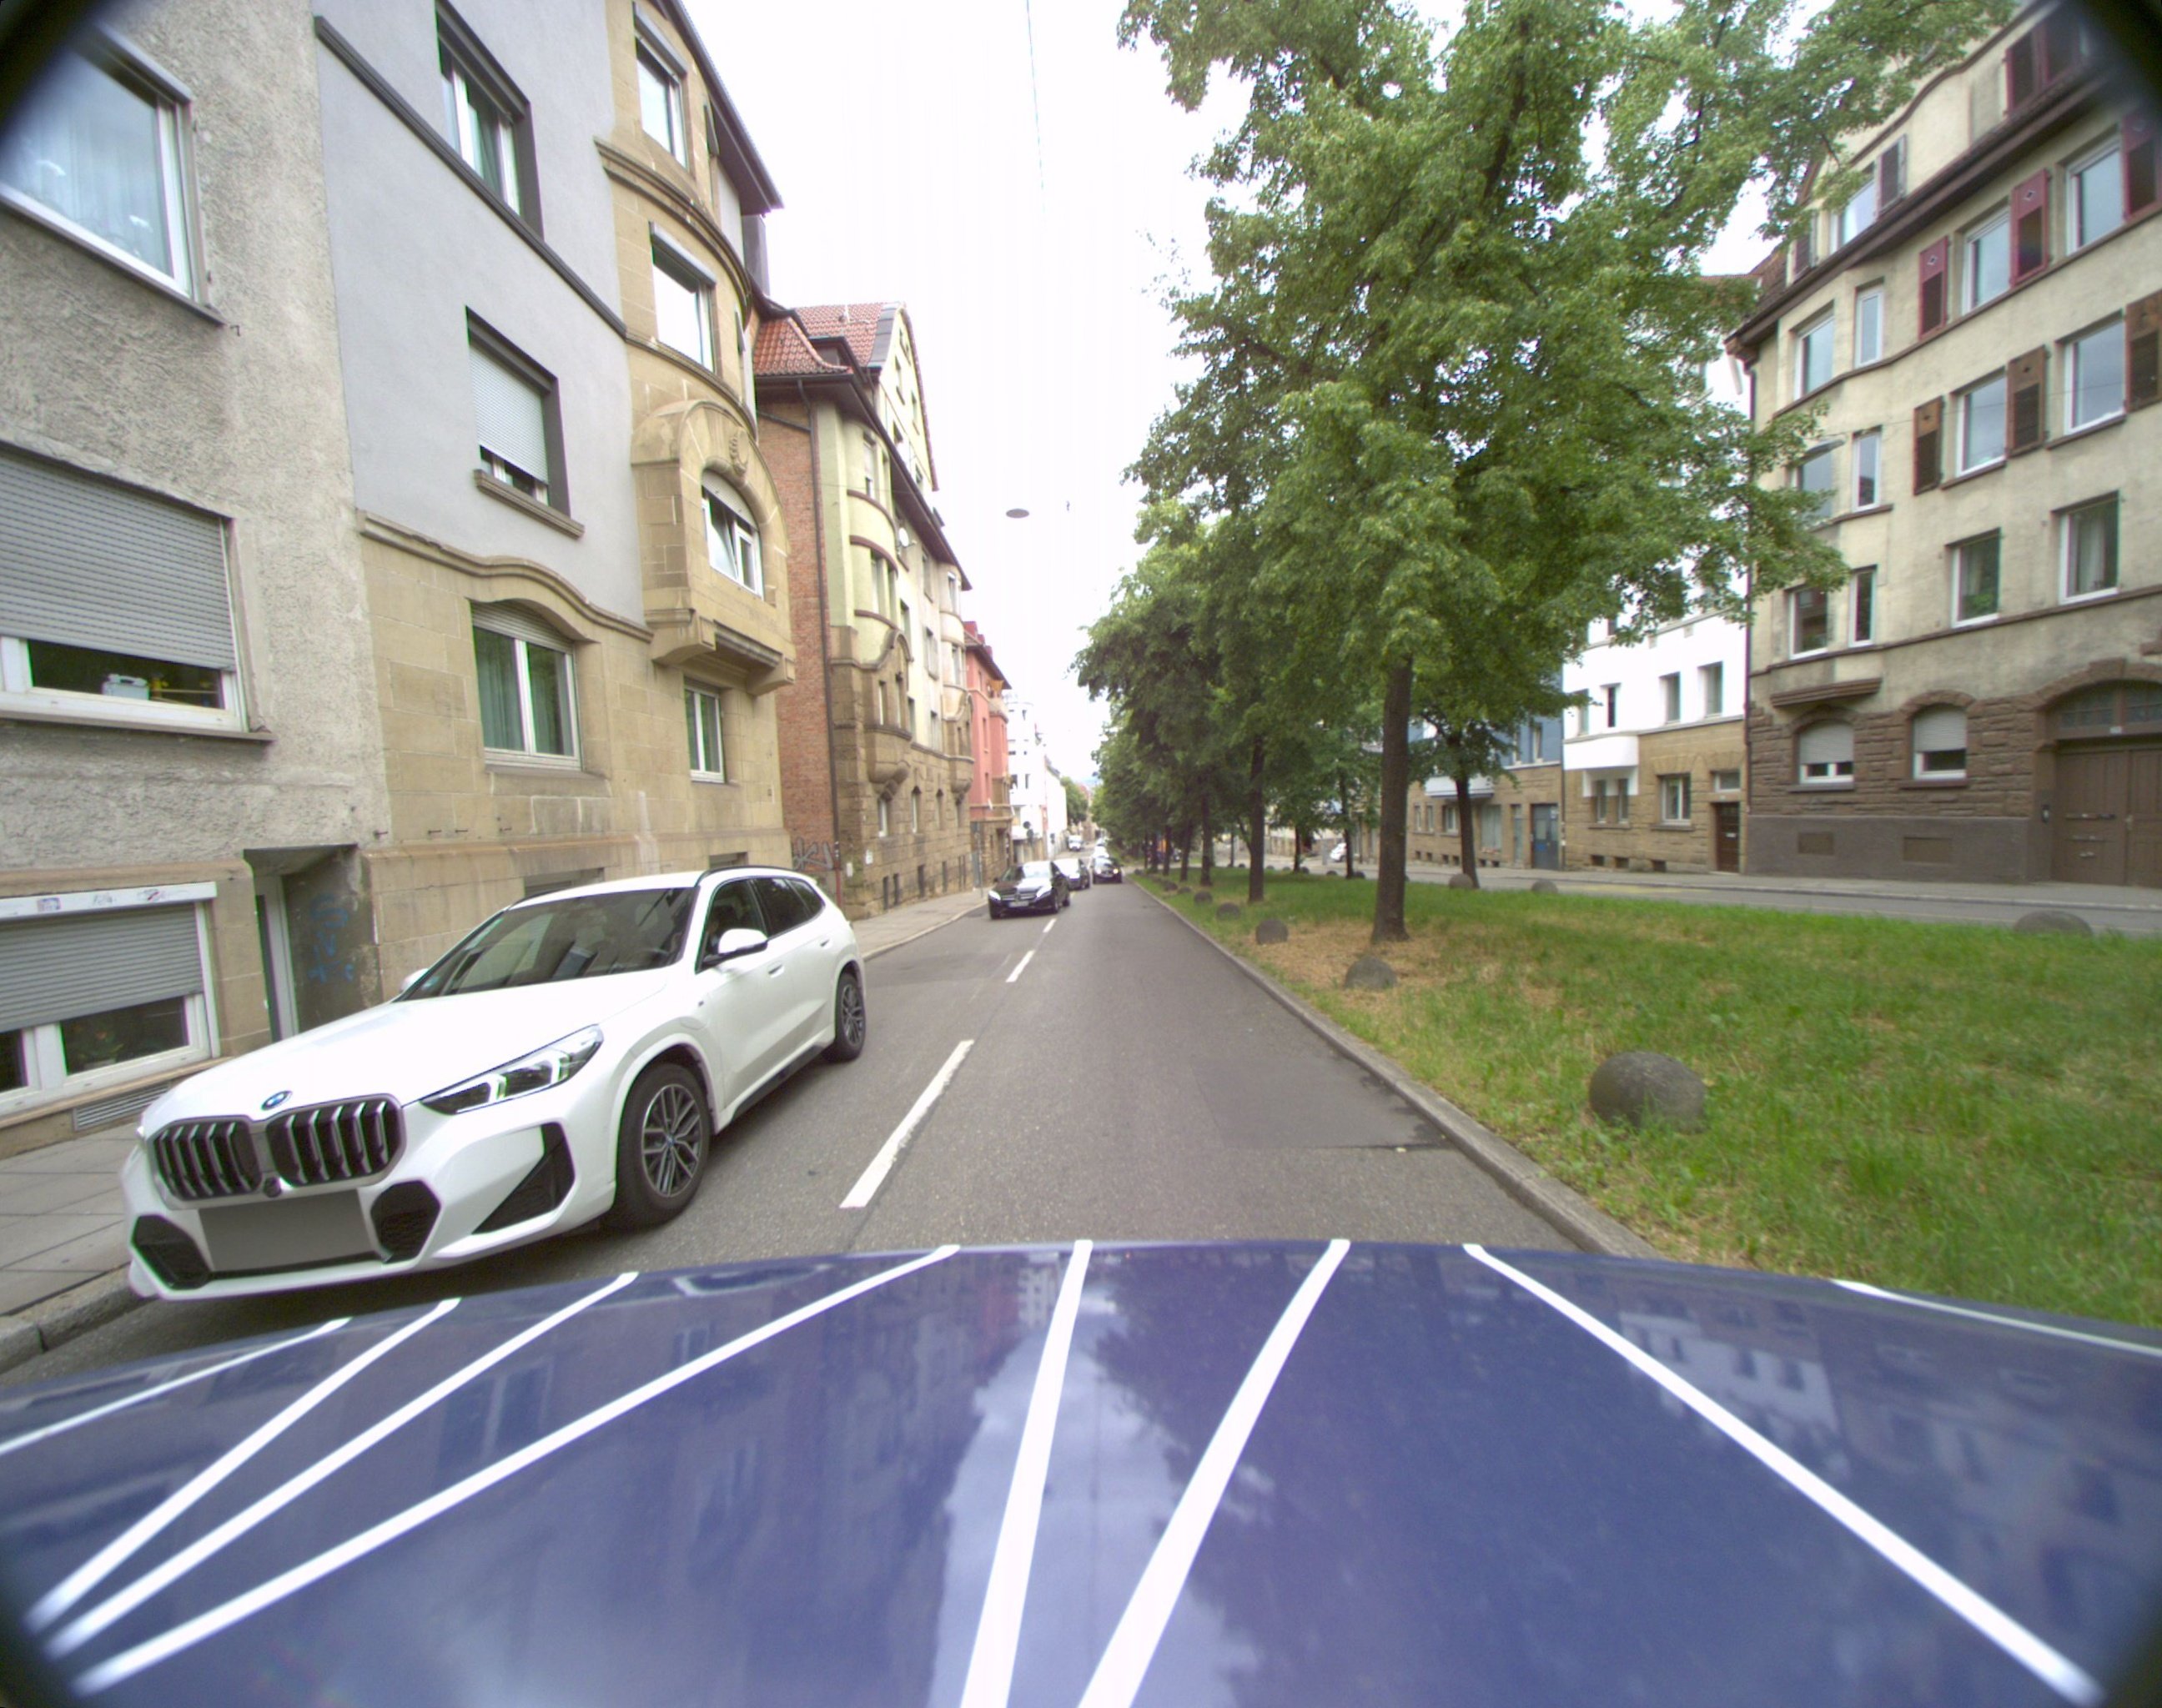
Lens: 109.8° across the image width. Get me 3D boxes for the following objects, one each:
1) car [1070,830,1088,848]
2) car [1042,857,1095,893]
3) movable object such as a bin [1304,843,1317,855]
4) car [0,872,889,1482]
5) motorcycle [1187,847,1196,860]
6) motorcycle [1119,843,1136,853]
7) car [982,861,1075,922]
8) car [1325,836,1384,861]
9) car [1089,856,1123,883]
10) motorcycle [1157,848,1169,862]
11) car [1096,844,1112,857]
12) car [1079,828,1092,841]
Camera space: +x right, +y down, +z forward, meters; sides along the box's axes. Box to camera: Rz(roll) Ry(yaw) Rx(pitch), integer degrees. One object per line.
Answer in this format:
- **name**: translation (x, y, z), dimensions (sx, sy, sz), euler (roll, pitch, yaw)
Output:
- **car**: translation (-0.279, -2.698, 137.141), dimensions (3.026, 3.045, 7.165), euler (-2, 3, 0)
- **car**: translation (-0.524, 0.945, 35.382), dimensions (1.853, 1.361, 4.282), euler (-5, 0, 6)
- **movable object such as a bin**: translation (20.856, -0.442, 69.120), dimensions (0.887, 0.988, 0.668), euler (-5, 2, 0)
- **car**: translation (-2.802, 1.078, 4.621), dimensions (1.854, 1.595, 4.563), euler (-7, 0, 1)
- **motorcycle**: translation (10.169, -0.039, 69.888), dimensions (0.750, 1.068, 1.851), euler (-3, 4, 9)
- **motorcycle**: translation (5.928, -0.744, 96.903), dimensions (2.040, 1.126, 0.454), euler (-3, 4, 2)
- **car**: translation (-1.359, 0.984, 21.619), dimensions (1.853, 1.361, 4.282), euler (-5, 0, 6)
- **car**: translation (22.178, -0.476, 61.621), dimensions (4.007, 1.462, 1.870), euler (-7, 3, -1)
- **car**: translation (1.414, 0.837, 43.065), dimensions (1.783, 1.420, 4.281), euler (-1, 0, 2)
- **motorcycle**: translation (7.533, 0.075, 69.834), dimensions (0.888, 1.090, 2.481), euler (-3, 4, 9)
- **car**: translation (2.664, -0.405, 87.146), dimensions (1.783, 1.420, 4.281), euler (-1, 0, 2)
- **car**: translation (1.202, -4.892, 192.644), dimensions (3.026, 3.045, 7.165), euler (-2, 3, 0)
